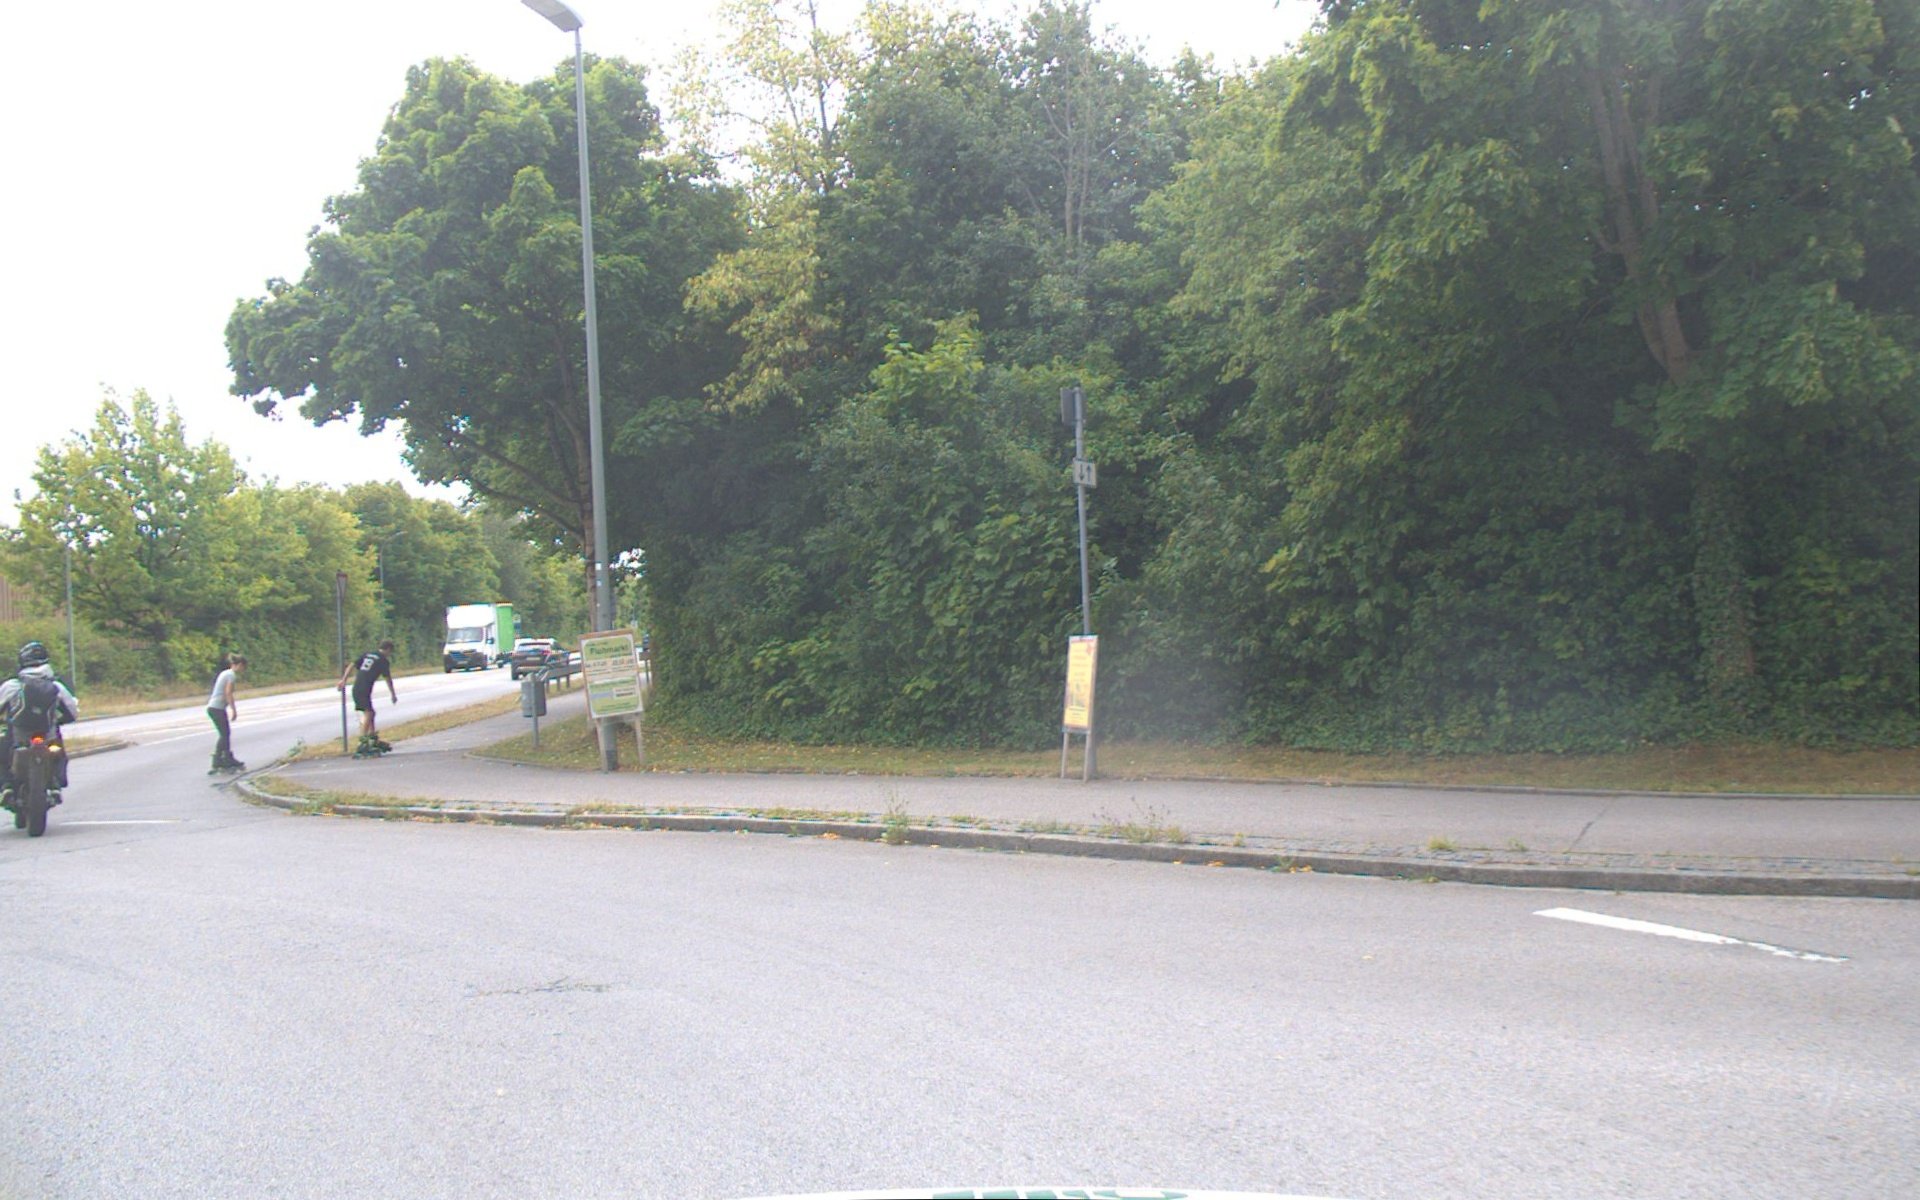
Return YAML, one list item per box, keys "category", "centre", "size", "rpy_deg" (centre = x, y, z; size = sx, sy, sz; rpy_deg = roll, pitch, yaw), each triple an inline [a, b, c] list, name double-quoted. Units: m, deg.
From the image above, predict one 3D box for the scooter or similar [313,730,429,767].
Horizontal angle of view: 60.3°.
- category: "scooter or similar"
  centre: [-8.900, 2.245, 25.016]
  size: [1.196, 0.387, 1.129]
  rpy_deg: [-4, -1, 17]

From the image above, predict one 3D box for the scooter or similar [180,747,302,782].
- category: "scooter or similar"
  centre: [-10.270, 2.338, 23.638]
  size: [1.077, 0.370, 1.224]
  rpy_deg: [-3, -1, 34]

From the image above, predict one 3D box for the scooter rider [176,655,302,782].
- category: "scooter rider"
  centre: [-10.308, 1.682, 23.656]
  size: [1.077, 1.701, 1.241]
  rpy_deg: [-3, -1, 34]

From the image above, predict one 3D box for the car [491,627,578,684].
- category: "car"
  centre: [-16.606, 2.141, 64.854]
  size: [2.465, 1.981, 5.702]
  rpy_deg: [-3, -1, -6]

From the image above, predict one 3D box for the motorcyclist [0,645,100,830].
- category: "motorcyclist"
  centre: [-8.933, 1.286, 15.790]
  size: [1.168, 1.652, 0.859]
  rpy_deg: [-3, -1, 40]

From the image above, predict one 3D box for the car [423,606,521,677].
- category: "car"
  centre: [-24.691, 2.092, 84.144]
  size: [3.109, 3.260, 7.625]
  rpy_deg: [-3, -1, -4]

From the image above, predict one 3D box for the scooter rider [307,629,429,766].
- category: "scooter rider"
  centre: [-8.952, 1.458, 25.030]
  size: [1.196, 1.943, 1.129]
  rpy_deg: [-4, -1, 18]

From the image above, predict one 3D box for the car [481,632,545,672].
- category: "car"
  centre: [-27.153, 3.115, 100.685]
  size: [2.628, 2.211, 5.992]
  rpy_deg: [-3, -1, -5]

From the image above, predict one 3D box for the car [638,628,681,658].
- category: "car"
  centre: [-22.159, 3.149, 122.091]
  size: [2.464, 1.981, 5.705]
  rpy_deg: [-3, -1, -4]

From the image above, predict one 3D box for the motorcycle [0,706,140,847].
- category: "motorcycle"
  centre: [-8.814, 1.628, 15.716]
  size: [2.572, 1.178, 0.894]
  rpy_deg: [-3, -1, 41]
